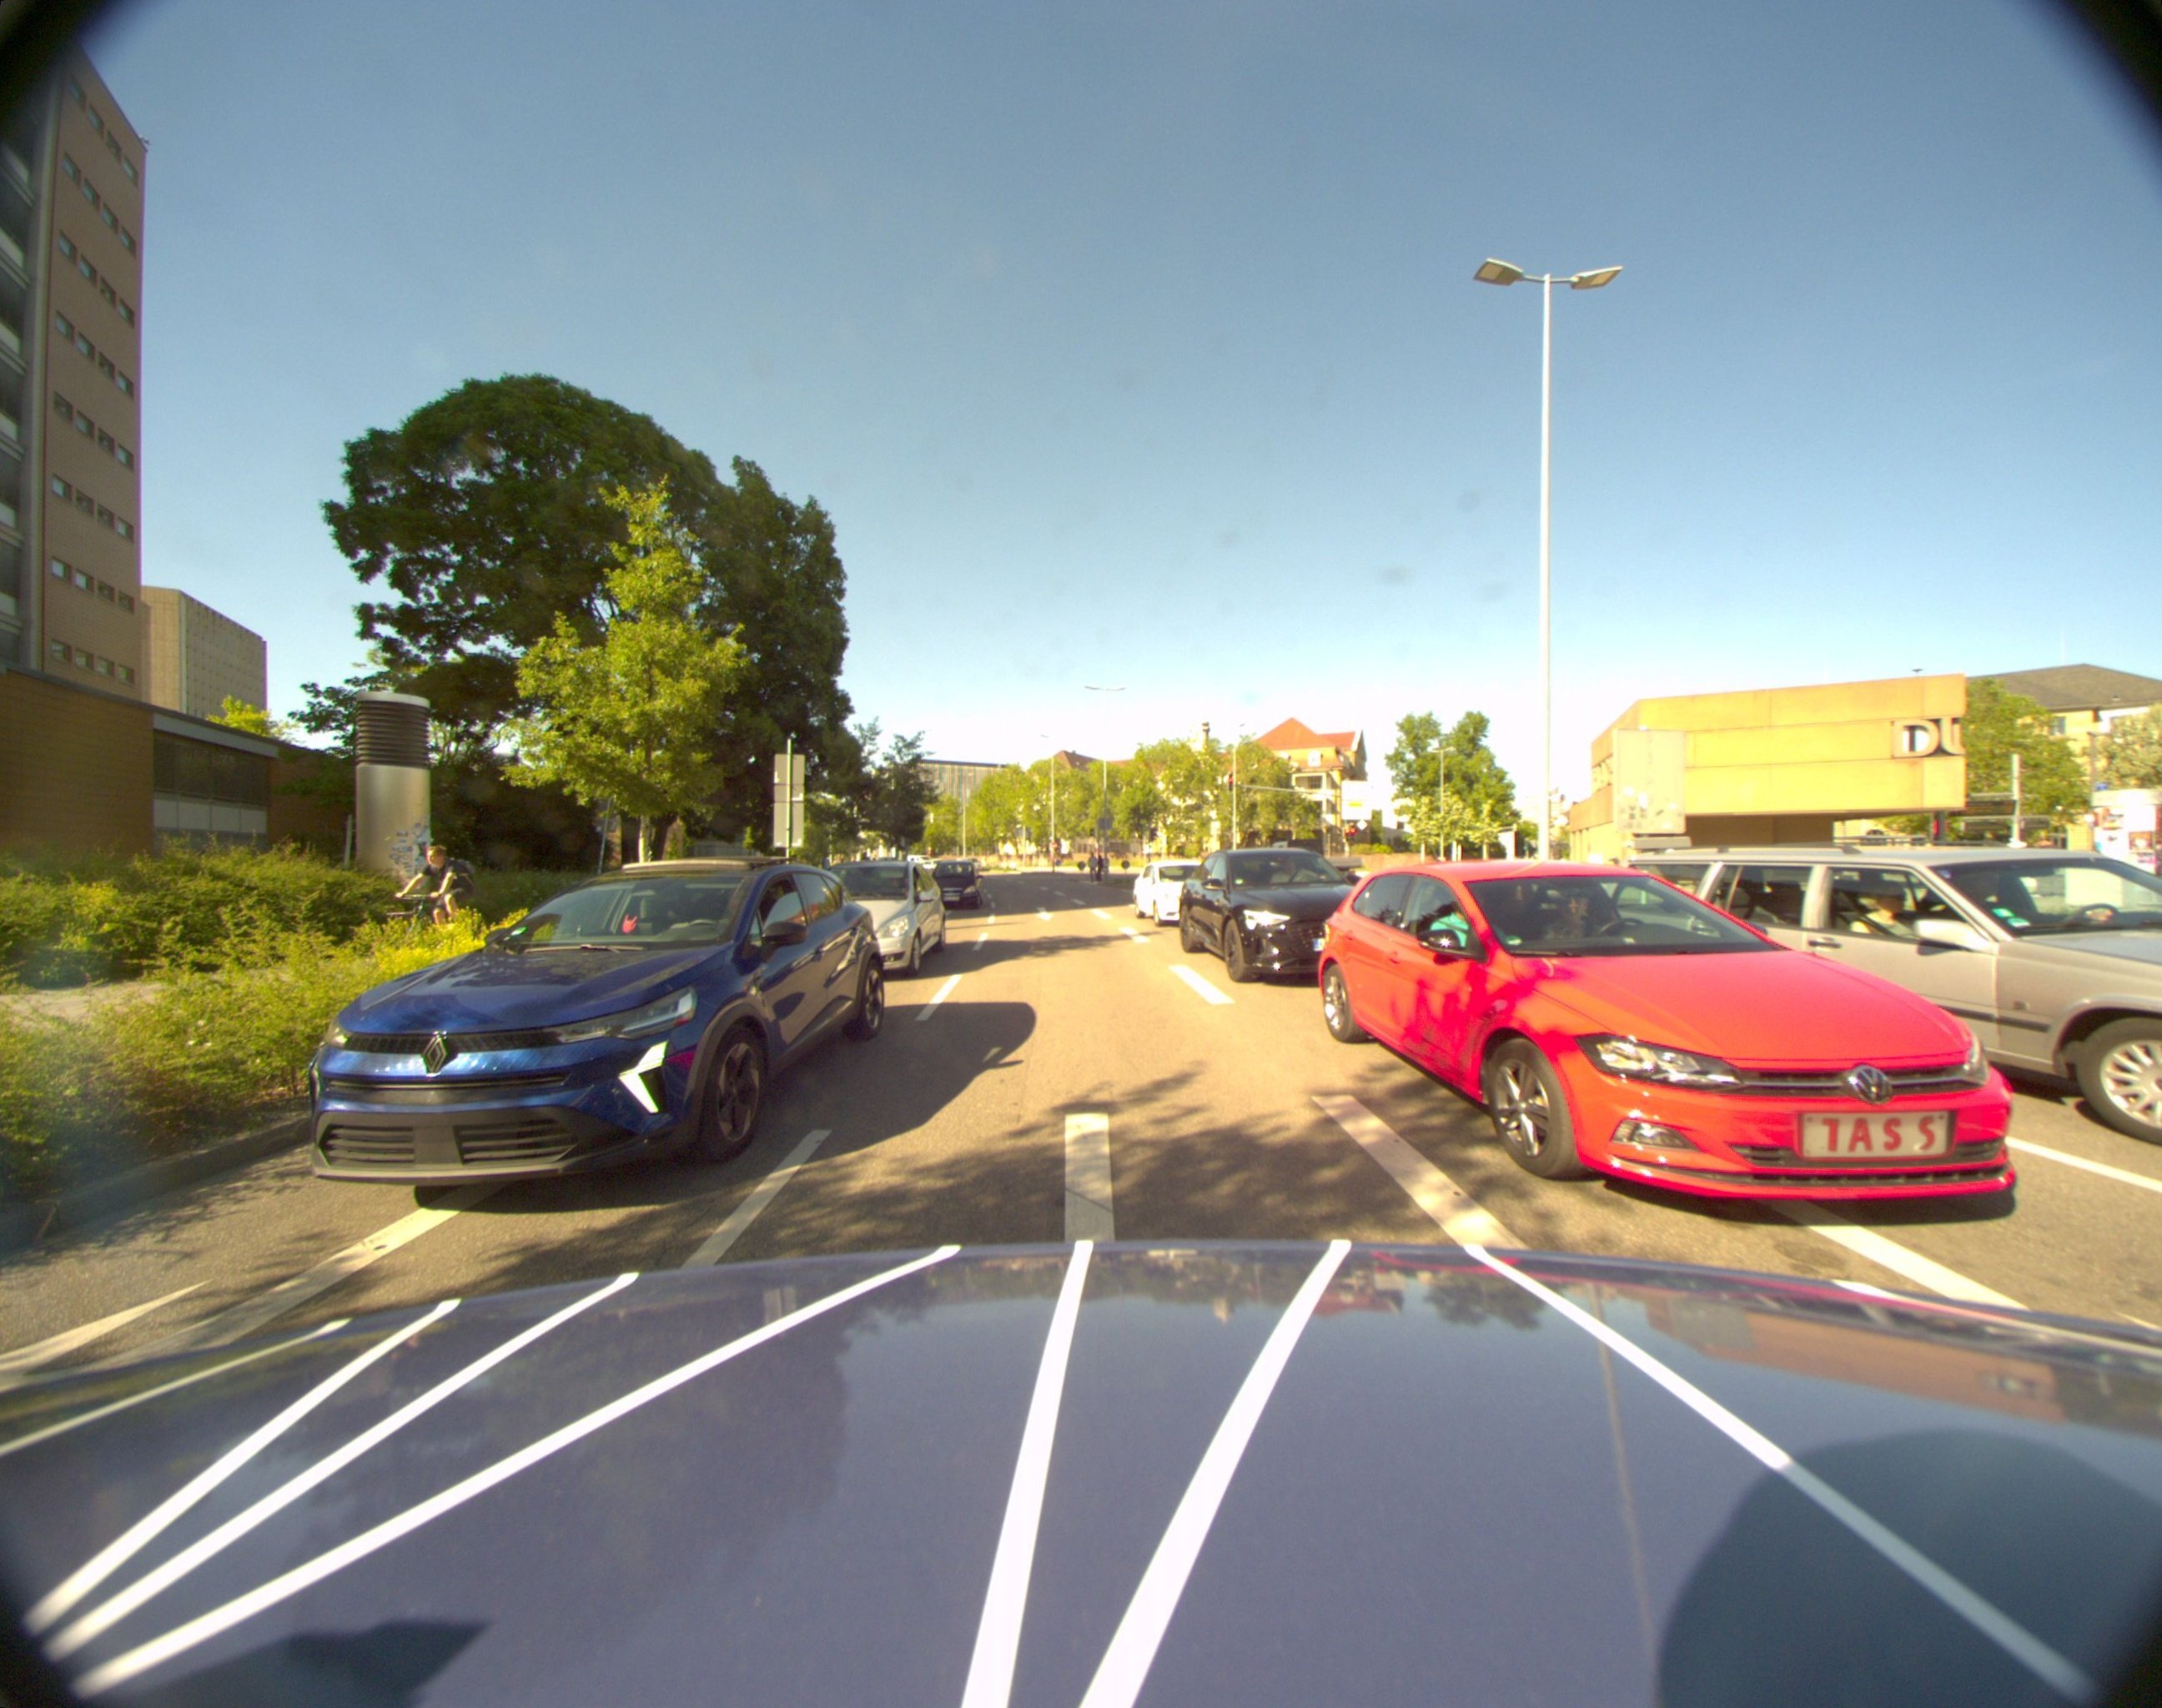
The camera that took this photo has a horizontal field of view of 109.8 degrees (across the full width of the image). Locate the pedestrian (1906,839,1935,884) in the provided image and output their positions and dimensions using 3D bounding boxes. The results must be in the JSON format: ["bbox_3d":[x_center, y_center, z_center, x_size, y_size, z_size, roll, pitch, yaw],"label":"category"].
[{"bbox_3d":[33.015,0.285,29.892,0.645,1.766,0.468,-1,1,-4],"label":"pedestrian"}]

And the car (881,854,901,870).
[{"bbox_3d":[-21.719,0.891,86.778,1.830,1.842,3.745,0,0,-21],"label":"car"}]

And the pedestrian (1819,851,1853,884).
[{"bbox_3d":[30.203,0.550,30.413,0.645,1.303,0.763,-1,0,9],"label":"pedestrian"}]

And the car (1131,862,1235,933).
[{"bbox_3d":[2.256,0.927,17.763,1.575,1.410,3.711,-2,0,-6],"label":"car"}]

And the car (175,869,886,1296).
[{"bbox_3d":[-2.701,0.948,5.050,1.705,1.596,4.084,-1,0,0],"label":"car"}]

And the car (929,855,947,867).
[{"bbox_3d":[-18.579,0.907,98.689,1.598,1.596,3.066,-1,0,-26],"label":"car"}]

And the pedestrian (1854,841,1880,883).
[{"bbox_3d":[33.113,0.324,32.025,0.645,1.766,0.468,-1,1,-4],"label":"pedestrian"}]

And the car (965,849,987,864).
[{"bbox_3d":[-11.648,0.286,84.241,1.527,1.669,3.374,-2,0,-24],"label":"car"}]

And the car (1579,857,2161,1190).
[{"bbox_3d":[5.752,0.790,4.943,1.713,1.464,4.750,-1,0,-3],"label":"car"}]

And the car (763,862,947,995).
[{"bbox_3d":[-3.200,0.958,11.601,1.786,1.615,4.042,0,0,-3],"label":"car"}]

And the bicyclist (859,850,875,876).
[{"bbox_3d":[-10.784,0.434,38.206,0.723,1.271,0.906,2,0,-17],"label":"bicyclist"}]

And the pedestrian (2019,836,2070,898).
[{"bbox_3d":[28.030,0.372,22.107,0.646,1.778,0.667,-2,1,-4],"label":"pedestrian"}]

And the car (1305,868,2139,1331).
[{"bbox_3d":[2.777,0.877,4.531,1.674,1.464,3.853,-2,0,-1],"label":"car"}]

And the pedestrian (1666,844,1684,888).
[{"bbox_3d":[23.967,0.485,30.640,0.467,1.766,0.647,0,1,29],"label":"pedestrian"}]

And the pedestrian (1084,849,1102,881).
[{"bbox_3d":[0.700,0.645,44.519,0.887,1.814,0.776,-2,1,-7],"label":"pedestrian"}]

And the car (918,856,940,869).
[{"bbox_3d":[-16.843,0.917,84.022,1.754,1.370,3.568,-1,0,-21],"label":"car"}]

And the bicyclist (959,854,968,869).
[{"bbox_3d":[-12.385,0.798,79.977,0.696,1.549,0.814,-2,1,-23],"label":"bicyclist"}]

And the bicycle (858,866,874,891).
[{"bbox_3d":[-10.851,1.225,38.338,0.693,1.211,1.832,2,0,-17],"label":"bicycle"}]

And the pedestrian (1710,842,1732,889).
[{"bbox_3d":[24.617,0.430,29.226,0.644,1.766,0.618,0,1,42],"label":"pedestrian"}]

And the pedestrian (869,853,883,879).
[{"bbox_3d":[-12.466,0.715,46.159,0.694,1.594,0.660,0,0,-25],"label":"pedestrian"}]

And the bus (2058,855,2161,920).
[{"bbox_3d":[21.682,0.643,14.076,1.646,1.234,4.181,0,0,-5],"label":"bus"}]

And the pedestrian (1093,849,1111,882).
[{"bbox_3d":[1.205,0.634,43.294,0.757,1.814,0.775,-2,1,-17],"label":"pedestrian"}]

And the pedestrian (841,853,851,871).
[{"bbox_3d":[-25.067,0.826,81.019,0.823,1.906,0.770,-2,1,-29],"label":"pedestrian"}]

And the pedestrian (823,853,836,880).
[{"bbox_3d":[-14.666,0.724,44.264,0.693,1.594,0.660,0,0,-21],"label":"pedestrian"}]

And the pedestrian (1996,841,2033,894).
[{"bbox_3d":[31.361,0.458,25.539,0.644,1.766,0.469,0,1,21],"label":"pedestrian"}]

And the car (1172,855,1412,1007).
[{"bbox_3d":[2.556,0.830,10.428,1.859,1.606,4.452,0,0,-3],"label":"car"}]

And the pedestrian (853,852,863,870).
[{"bbox_3d":[-23.943,0.784,81.433,0.823,1.906,0.770,-2,1,-29],"label":"pedestrian"}]

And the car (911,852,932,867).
[{"bbox_3d":[-22.531,0.789,107.078,1.790,2.002,4.223,-2,1,-26],"label":"car"}]

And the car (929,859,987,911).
[{"bbox_3d":[-4.085,0.988,25.634,1.651,1.601,3.488,0,0,-5],"label":"car"}]

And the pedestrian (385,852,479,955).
[{"bbox_3d":[-9.273,0.679,10.896,0.517,1.394,0.961,2,1,-1],"label":"pedestrian"}]

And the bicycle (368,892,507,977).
[{"bbox_3d":[-9.267,1.121,11.035,0.517,1.038,1.768,2,0,-1],"label":"bicycle"}]

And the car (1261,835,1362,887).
[{"bbox_3d":[11.067,0.303,37.070,2.117,2.300,6.209,-1,0,-10],"label":"car"}]
